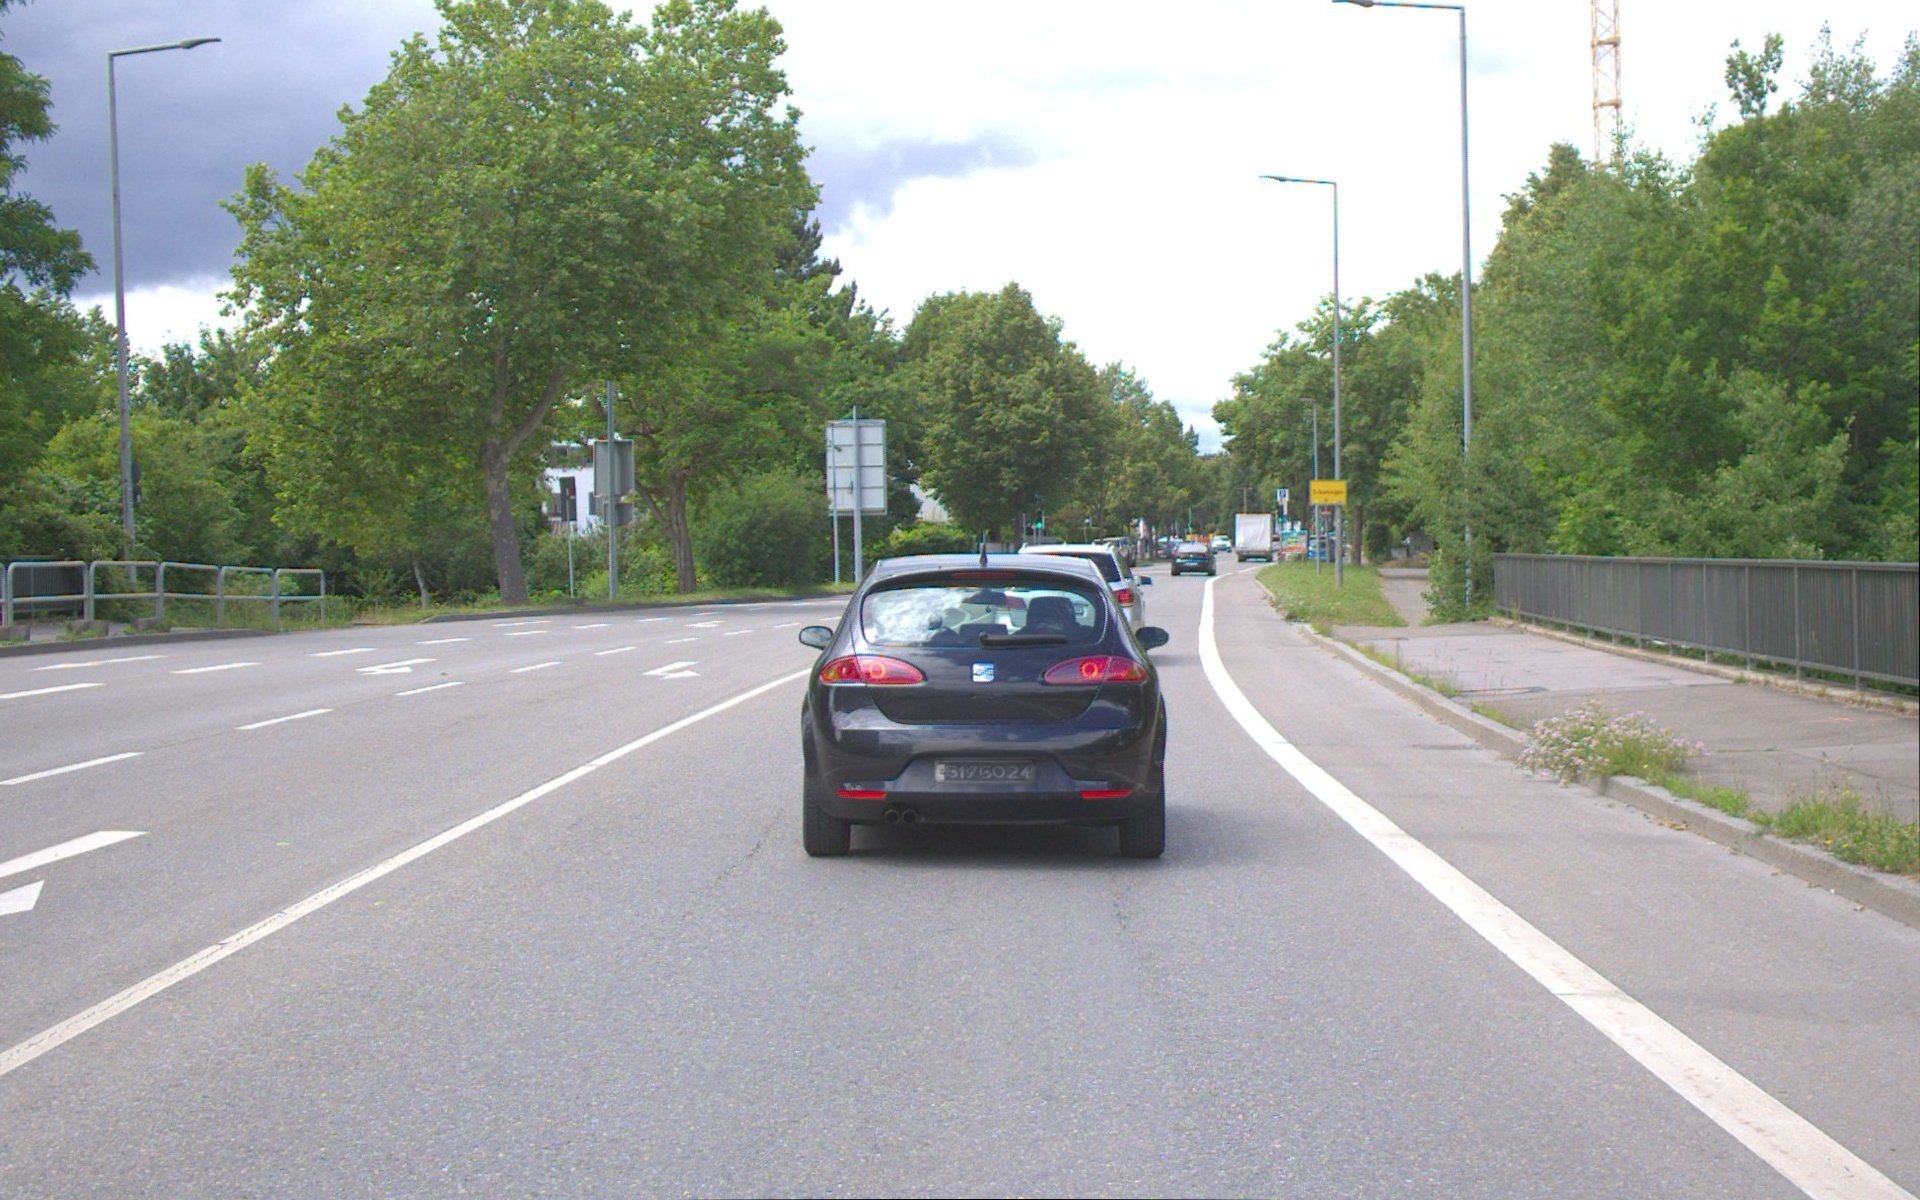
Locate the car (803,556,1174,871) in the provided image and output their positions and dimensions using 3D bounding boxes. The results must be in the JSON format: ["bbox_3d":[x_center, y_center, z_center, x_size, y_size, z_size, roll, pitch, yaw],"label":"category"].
[{"bbox_3d":[0.199,0.487,17.426,1.663,1.396,3.811,1,1,2],"label":"car"}]

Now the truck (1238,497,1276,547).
[{"bbox_3d":[19.146,-4.990,221.455,2.279,3.093,8.509,1,1,6],"label":"truck"}]

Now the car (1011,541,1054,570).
[{"bbox_3d":[3.753,-2.292,177.030,1.718,1.390,4.800,-3,1,6],"label":"car"}]

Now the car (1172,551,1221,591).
[{"bbox_3d":[10.287,-1.268,149.315,1.882,1.683,4.213,-1,1,6],"label":"car"}]

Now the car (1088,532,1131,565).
[{"bbox_3d":[8.958,-3.093,205.420,2.100,1.890,5.783,-3,1,6],"label":"car"}]

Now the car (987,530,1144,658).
[{"bbox_3d":[1.353,-0.095,42.786,1.846,1.504,3.811,1,1,3],"label":"car"}]
